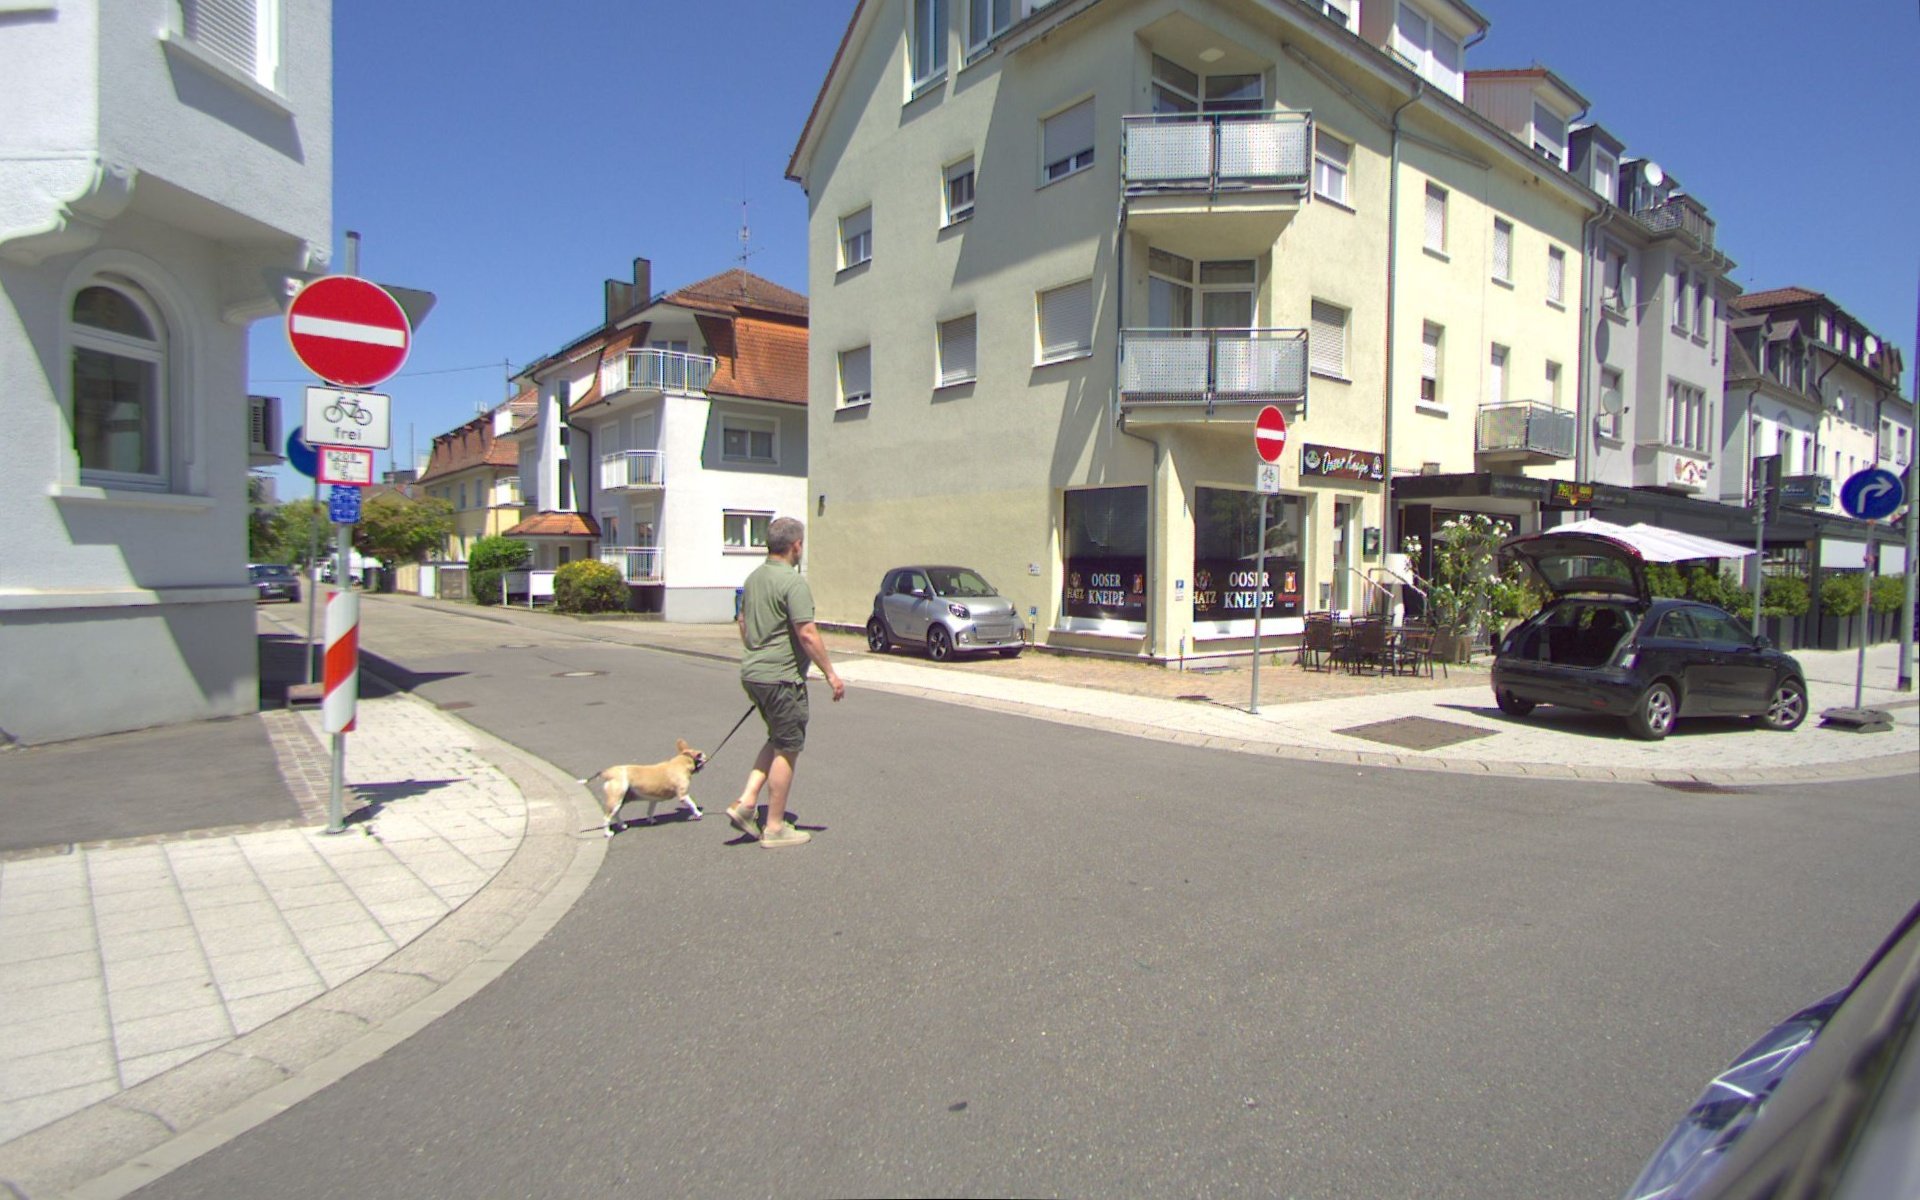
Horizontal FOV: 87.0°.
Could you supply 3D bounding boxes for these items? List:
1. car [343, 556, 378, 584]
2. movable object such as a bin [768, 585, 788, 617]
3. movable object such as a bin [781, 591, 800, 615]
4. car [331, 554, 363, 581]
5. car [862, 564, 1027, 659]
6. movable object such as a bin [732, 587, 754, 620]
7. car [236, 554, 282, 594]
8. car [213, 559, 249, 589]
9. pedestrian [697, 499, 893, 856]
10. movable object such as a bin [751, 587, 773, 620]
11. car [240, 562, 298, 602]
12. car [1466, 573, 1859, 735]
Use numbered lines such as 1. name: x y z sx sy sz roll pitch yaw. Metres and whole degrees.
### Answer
1. car: -45.337 -2.282 76.474 1.962 2.038 4.001 0 2 -35
2. movable object such as a bin: -6.005 0.038 33.410 0.455 1.024 0.462 1 1 -40
3. movable object such as a bin: -5.643 0.098 33.710 0.448 0.783 0.462 1 1 -40
4. car: -49.541 -2.624 81.773 1.962 2.038 4.001 0 2 -35
5. car: -0.318 0.140 17.344 1.502 1.489 2.735 -1 2 -37
6. movable object such as a bin: -7.031 0.114 32.739 0.503 1.024 0.462 1 1 -40
7. car: -37.959 -1.414 54.787 1.962 2.038 4.001 0 2 -35
8. car: -50.883 -1.818 70.699 1.962 2.038 4.001 0 2 -35
9. pedestrian: -0.939 0.391 5.683 0.826 1.819 0.749 2 0 -30
10. movable object such as a bin: -6.447 0.114 32.991 0.508 1.024 0.462 1 1 -40
11. car: -29.837 -0.787 43.666 1.962 1.638 4.000 0 2 -36
12. car: 7.902 0.535 11.423 3.781 1.509 1.882 1 2 -24
